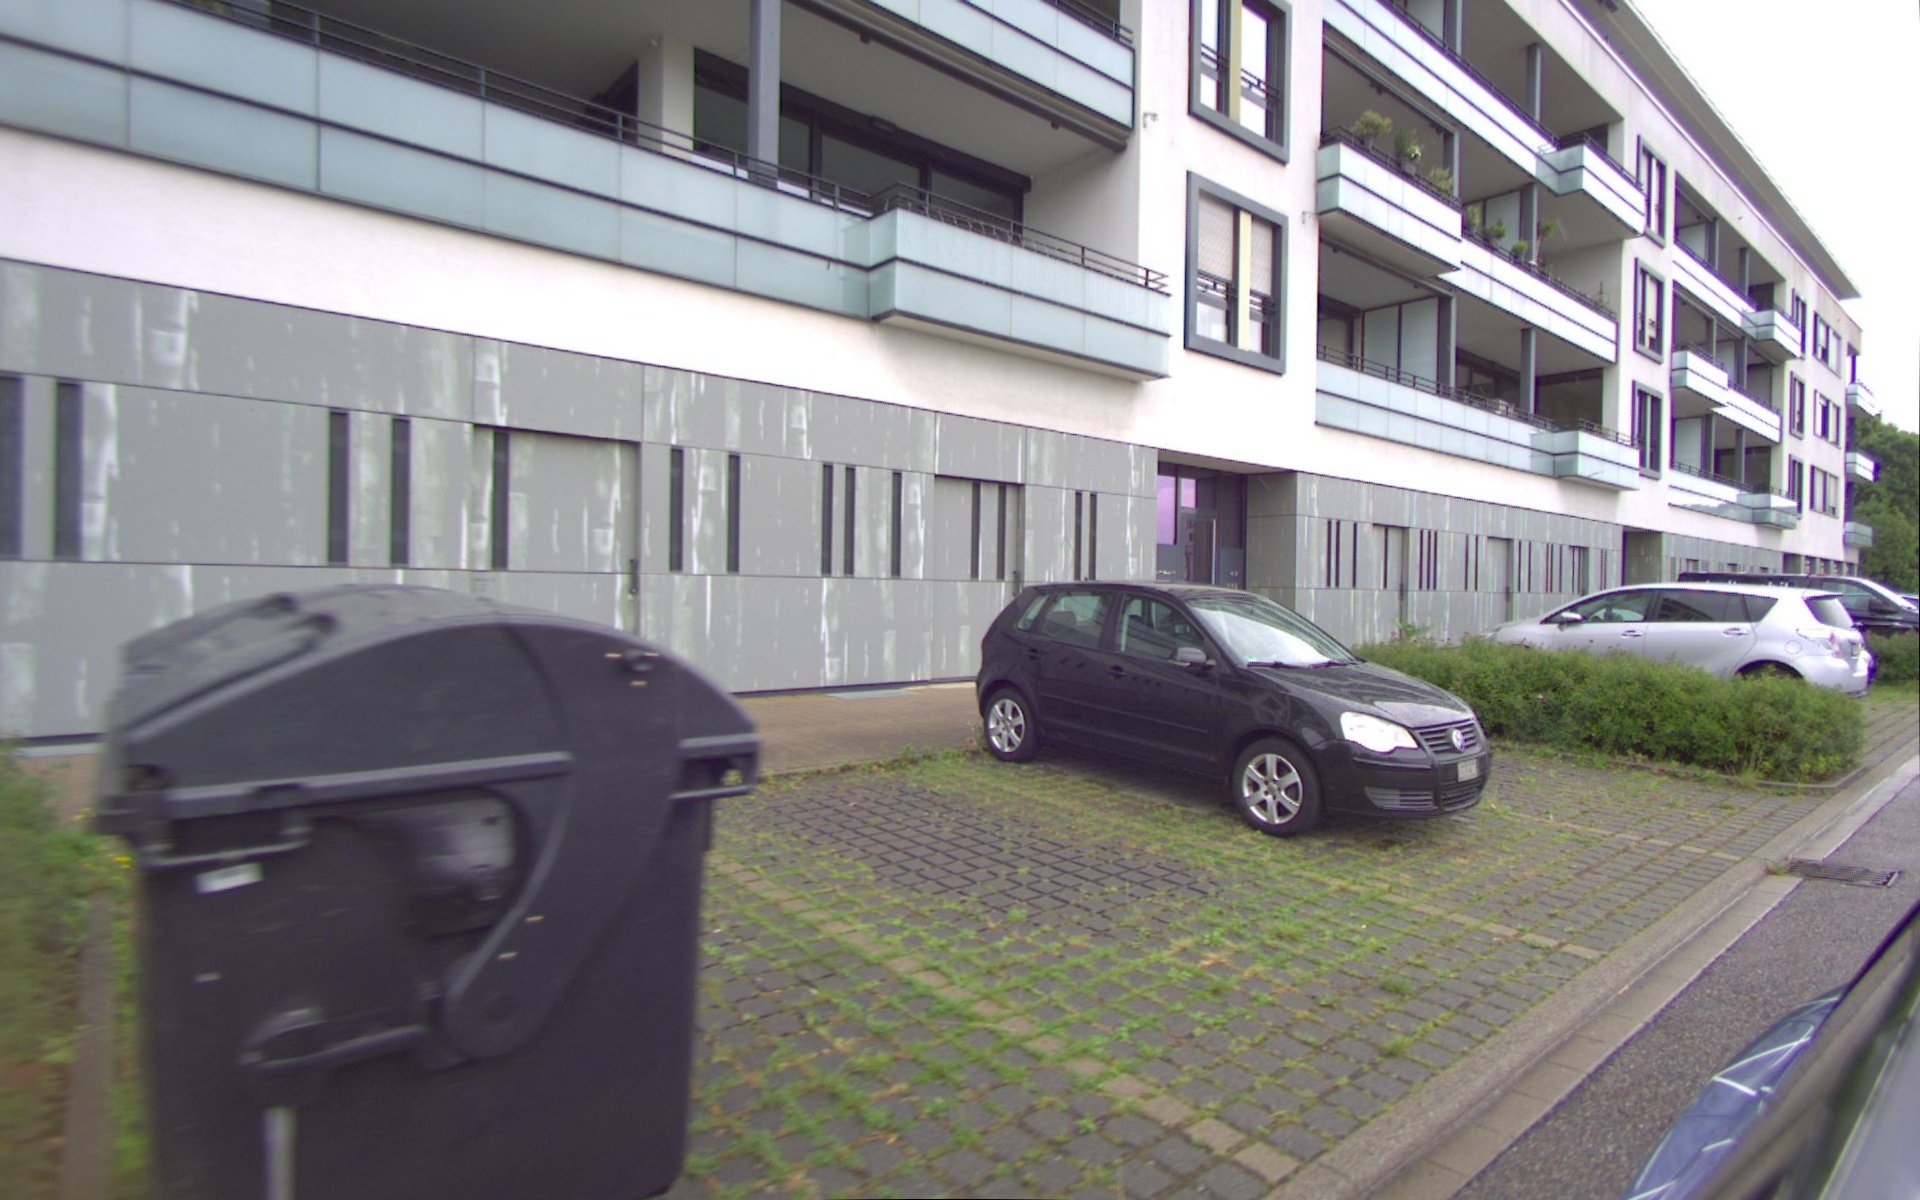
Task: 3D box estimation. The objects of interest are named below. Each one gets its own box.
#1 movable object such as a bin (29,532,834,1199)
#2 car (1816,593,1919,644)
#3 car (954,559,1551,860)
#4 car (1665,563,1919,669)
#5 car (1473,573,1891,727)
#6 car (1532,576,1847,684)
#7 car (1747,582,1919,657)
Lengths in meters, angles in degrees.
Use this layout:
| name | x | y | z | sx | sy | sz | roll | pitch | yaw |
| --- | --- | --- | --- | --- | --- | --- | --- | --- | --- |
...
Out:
| name | x | y | z | sx | sy | sz | roll | pitch | yaw |
| --- | --- | --- | --- | --- | --- | --- | --- | --- | --- |
| movable object such as a bin | -1.181 | 0.647 | 2.180 | 1.135 | 1.511 | 1.499 | 0 | 3 | -40 |
| car | 29.462 | 0.576 | 31.514 | 1.681 | 1.496 | 4.097 | 0 | 1 | -40 |
| car | 1.853 | 0.526 | 7.386 | 1.731 | 1.509 | 3.856 | 1 | 2 | -39 |
| car | 18.520 | 0.286 | 21.823 | 1.947 | 1.952 | 5.062 | 0 | 3 | -40 |
| car | 9.319 | 0.502 | 13.363 | 1.657 | 1.664 | 4.216 | -1 | 2 | -41 |
| car | 12.595 | 0.417 | 17.685 | 1.721 | 1.501 | 4.181 | -1 | 4 | -43 |
| car | 22.628 | 0.472 | 25.118 | 2.043 | 1.621 | 4.435 | 0 | 3 | -35 |
